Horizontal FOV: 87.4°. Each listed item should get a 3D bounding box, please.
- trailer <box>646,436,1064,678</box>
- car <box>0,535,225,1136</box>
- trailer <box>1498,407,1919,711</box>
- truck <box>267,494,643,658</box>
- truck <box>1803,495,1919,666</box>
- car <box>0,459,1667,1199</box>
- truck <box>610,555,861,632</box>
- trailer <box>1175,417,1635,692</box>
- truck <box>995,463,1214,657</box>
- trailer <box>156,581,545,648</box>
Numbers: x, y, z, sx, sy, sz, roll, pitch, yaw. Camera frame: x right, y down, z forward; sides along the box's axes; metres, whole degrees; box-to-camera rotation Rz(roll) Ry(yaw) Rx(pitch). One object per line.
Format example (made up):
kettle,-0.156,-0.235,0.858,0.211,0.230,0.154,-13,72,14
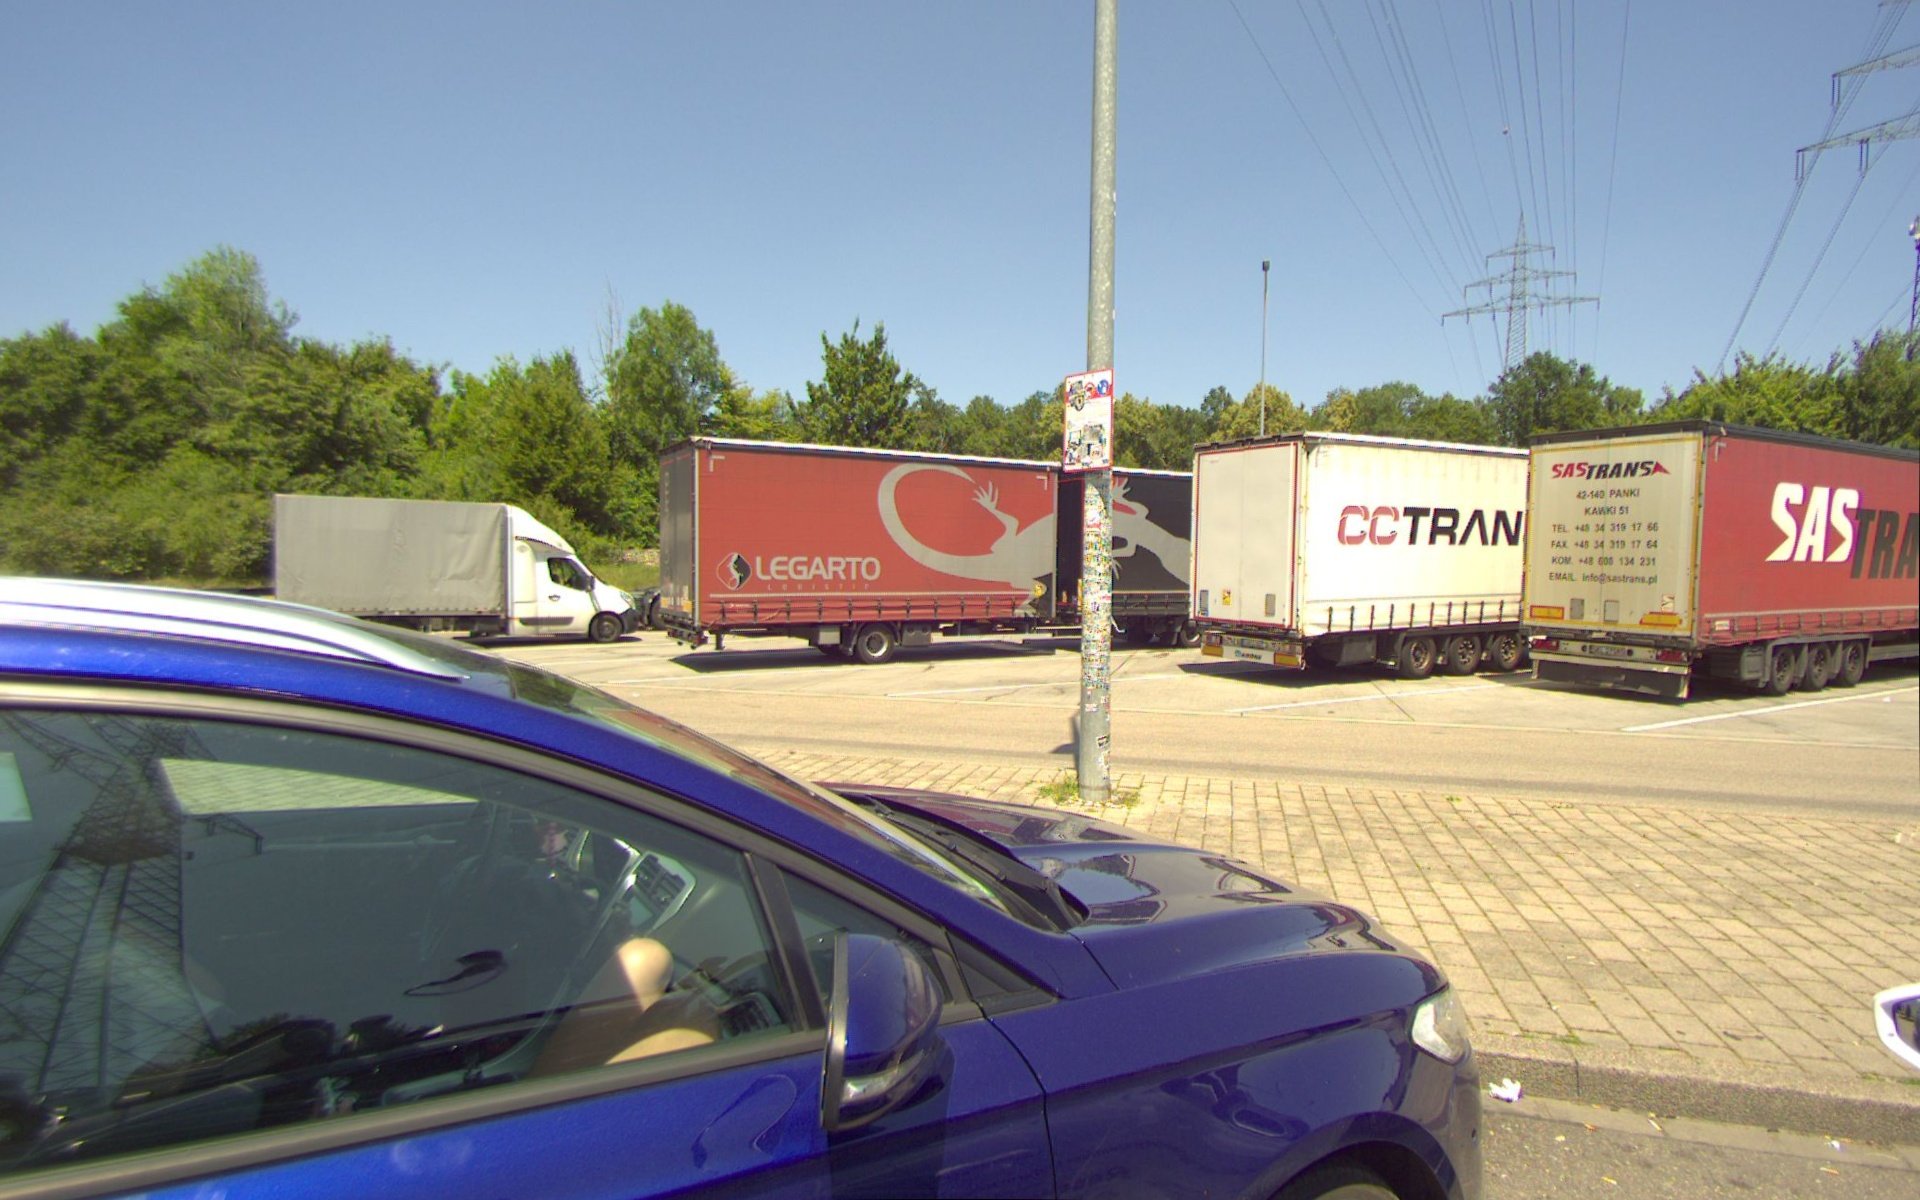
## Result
trailer,-1.939,-0.830,20.258,7.996,4.101,2.696,-1,3,-30
car,-4.565,0.581,2.245,4.592,1.554,1.726,0,1,-33
trailer,15.392,-0.704,18.555,13.559,4.189,2.892,-1,3,-30
truck,-11.216,-0.572,22.893,7.254,3.254,2.515,-1,3,-30
truck,21.714,-0.433,22.300,5.418,3.475,2.838,-1,3,-30
car,-0.992,0.653,1.461,4.592,1.502,1.727,0,0,-33
truck,-6.496,-0.162,29.517,6.961,2.040,1.984,0,0,-30
trailer,8.853,-0.821,19.319,10.049,4.267,2.714,-1,3,-30
truck,3.343,-0.904,23.352,4.273,4.072,2.689,-1,3,-30
trailer,-14.844,0.260,25.176,7.996,1.394,2.211,-1,3,-30
